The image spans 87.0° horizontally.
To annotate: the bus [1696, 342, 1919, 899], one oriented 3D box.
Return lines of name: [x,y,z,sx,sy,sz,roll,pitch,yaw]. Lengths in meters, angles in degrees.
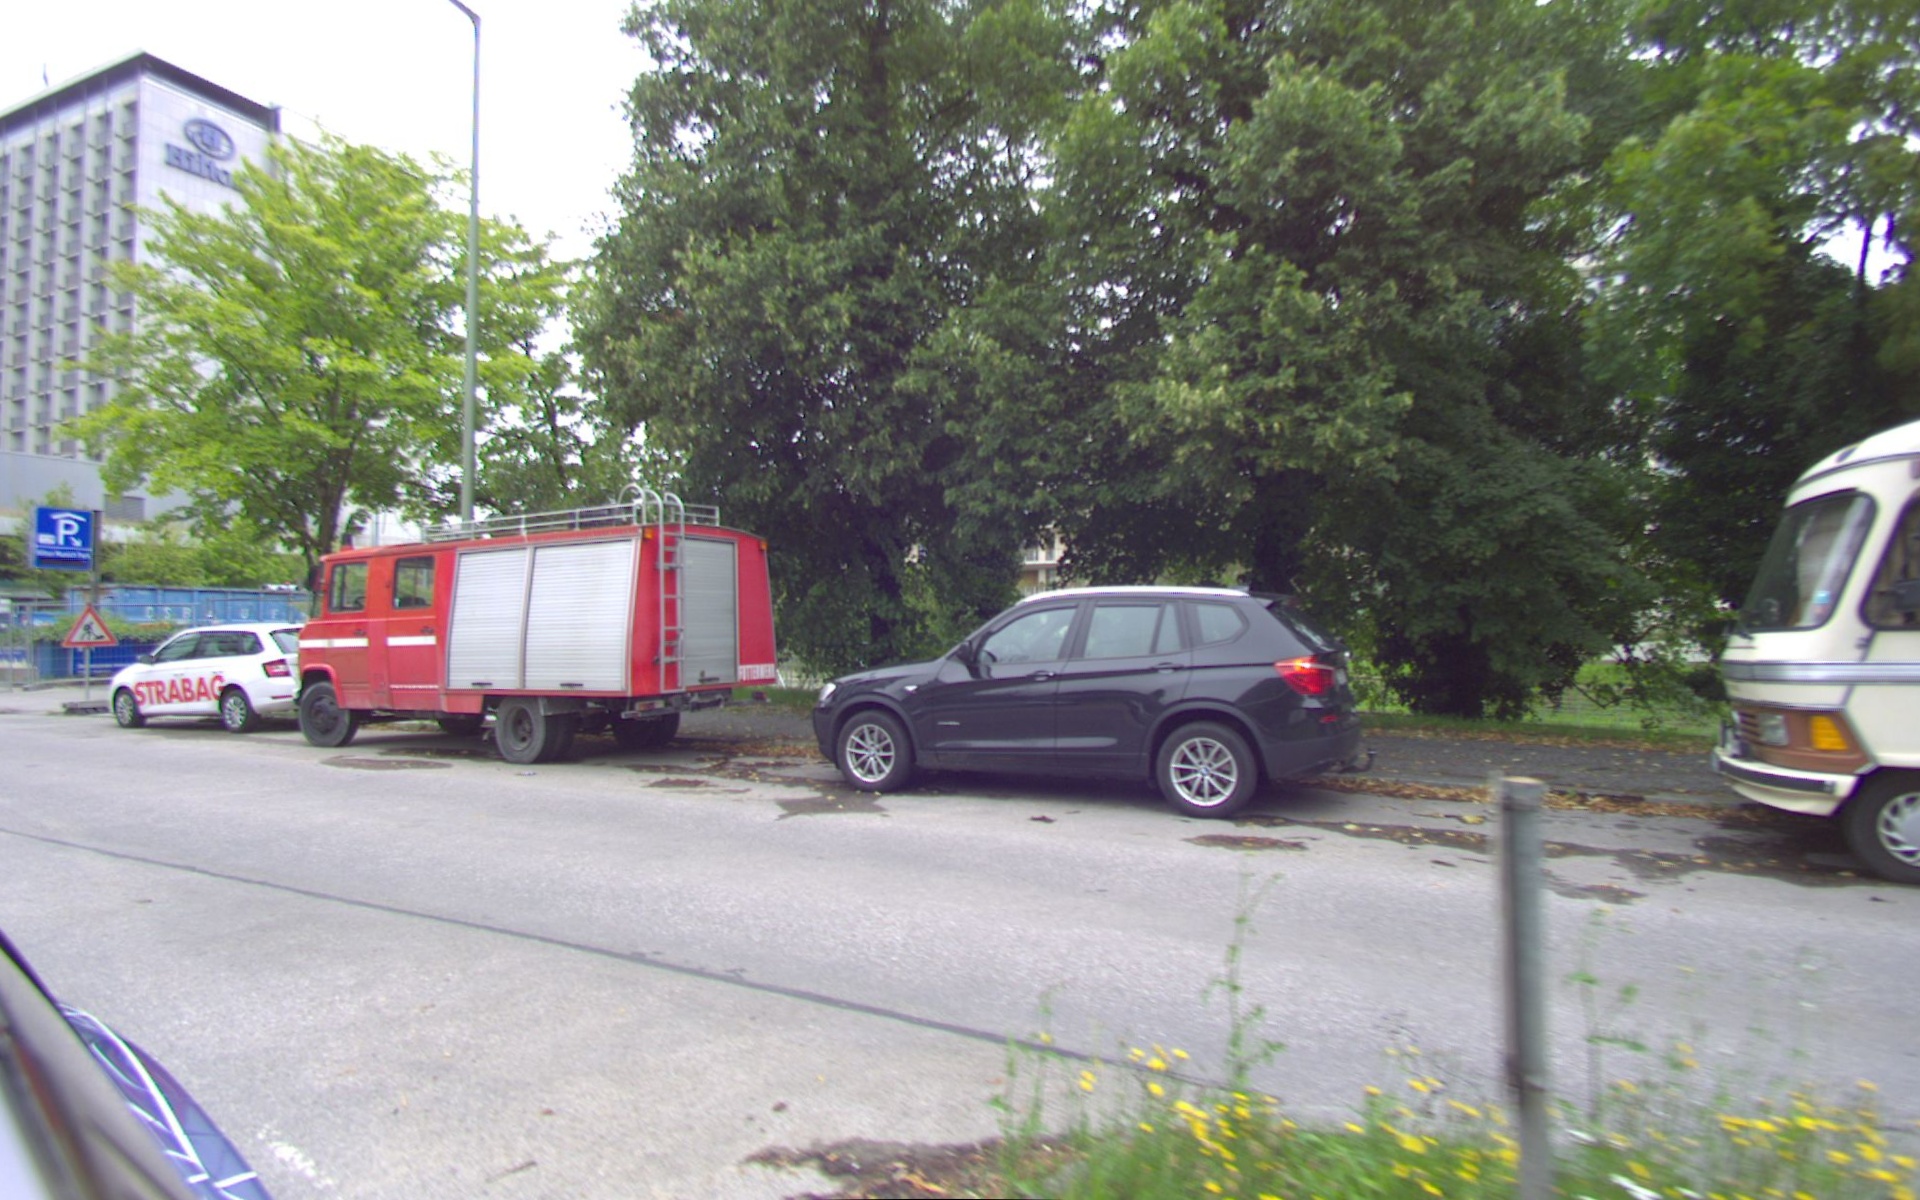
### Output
bus: [7.051,0.074,4.692,5.720,2.720,2.295,-2,-3,35]

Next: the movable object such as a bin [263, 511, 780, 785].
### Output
movable object such as a bin: [-5.146,0.535,11.570,6.159,2.477,2.090,-1,-3,29]

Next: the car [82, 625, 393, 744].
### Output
car: [-10.663,1.180,14.945,4.228,1.561,1.768,-1,-3,23]

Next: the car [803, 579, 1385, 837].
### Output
car: [1.034,0.773,8.342,4.437,1.662,1.765,-1,-3,27]
